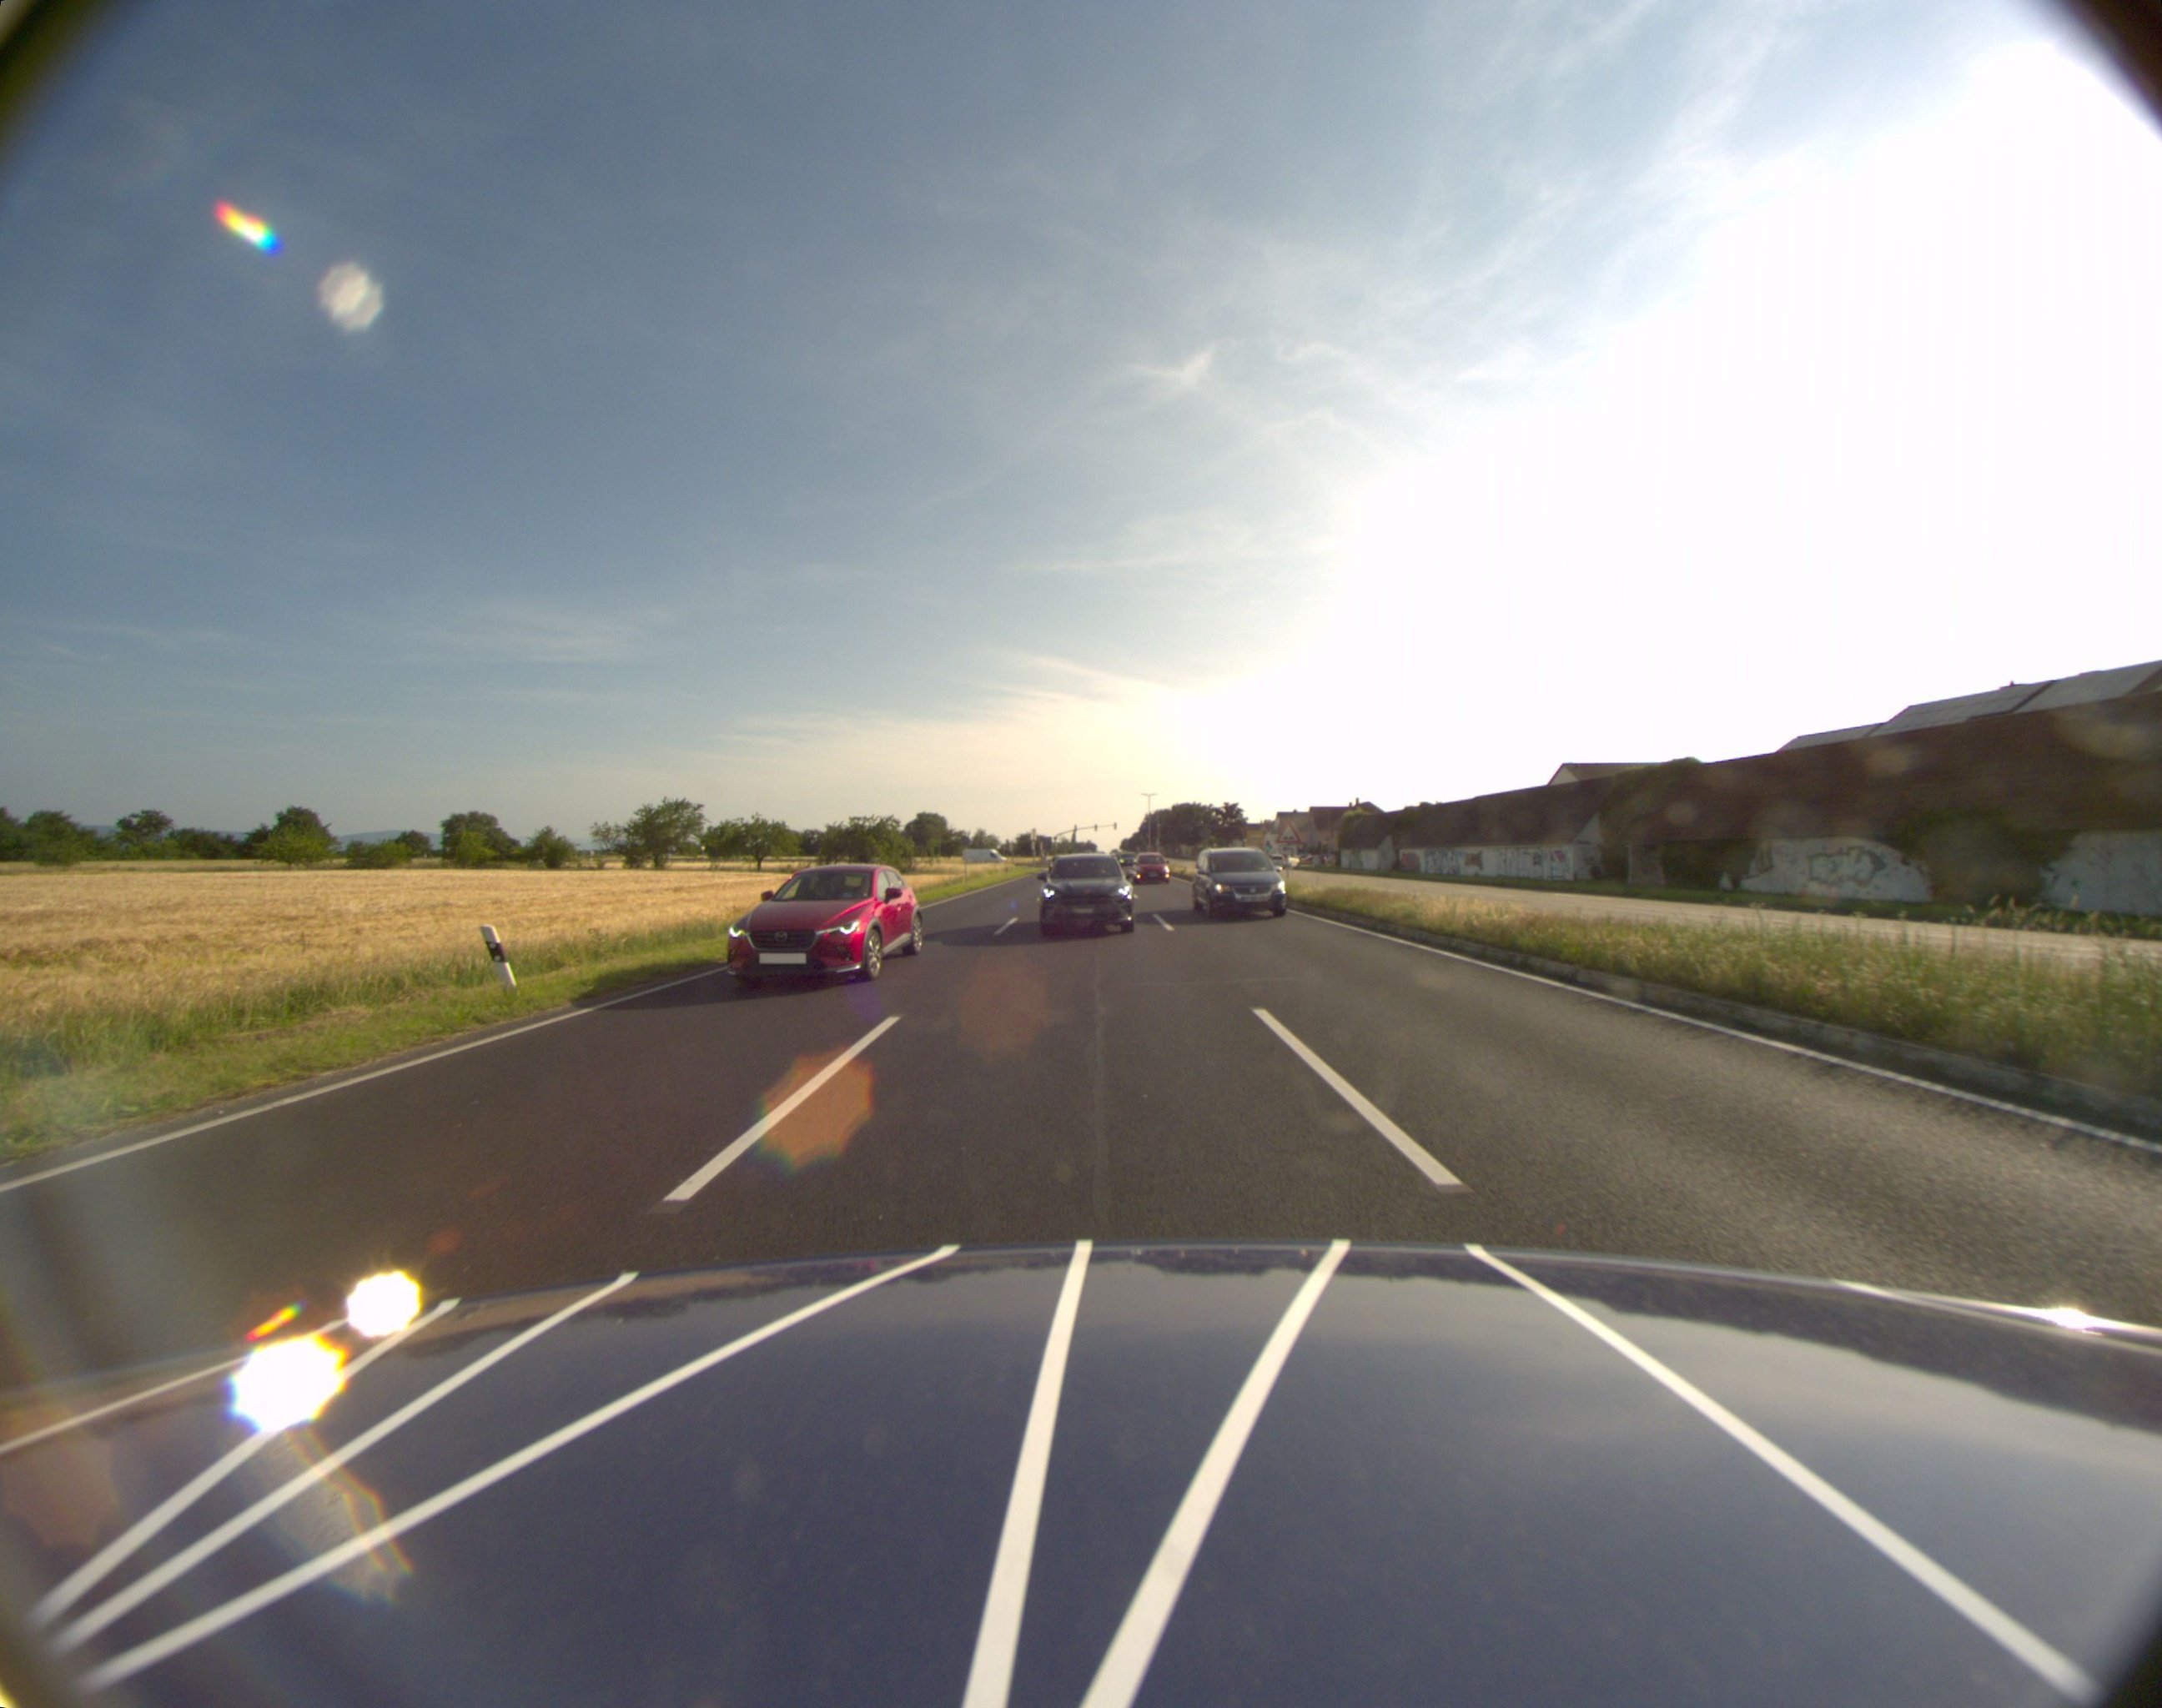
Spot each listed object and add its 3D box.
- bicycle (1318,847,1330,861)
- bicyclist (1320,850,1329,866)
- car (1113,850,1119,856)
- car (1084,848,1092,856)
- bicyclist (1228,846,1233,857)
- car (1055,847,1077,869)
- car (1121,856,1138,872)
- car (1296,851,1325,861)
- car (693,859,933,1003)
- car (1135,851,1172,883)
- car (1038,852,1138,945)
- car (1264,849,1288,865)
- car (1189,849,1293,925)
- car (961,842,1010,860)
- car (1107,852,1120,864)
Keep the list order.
[{"bbox_3d":[31.396,0.042,98.156,0.755,1.739,2.607,-2,1,2],"label":"bicycle"},{"bbox_3d":[31.381,0.506,98.002,0.772,2.002,1.062,-2,1,1],"label":"bicyclist"},{"bbox_3d":[11.573,-0.427,250.980,1.998,2.002,4.000,-2,1,2],"label":"car"},{"bbox_3d":[1.843,-0.447,196.946,1.999,2.002,3.999,-2,1,-1],"label":"car"},{"bbox_3d":[25.513,-0.484,129.665,0.856,1.777,0.847,2,2,10],"label":"bicyclist"},{"bbox_3d":[-1.407,0.343,71.618,1.999,2.002,3.999,-2,1,-1],"label":"car"},{"bbox_3d":[5.236,1.074,82.464,1.718,1.521,4.000,-2,1,2],"label":"car"},{"bbox_3d":[36.808,0.343,121.881,3.996,1.554,1.758,2,1,2],"label":"car"},{"bbox_3d":[-3.491,0.896,10.905,1.708,1.497,4.500,-2,1,1],"label":"car"},{"bbox_3d":[3.862,0.670,41.017,1.748,1.537,4.000,-2,1,2],"label":"car"},{"bbox_3d":[0.210,0.823,16.244,1.791,1.594,4.339,-2,1,2],"label":"car"},{"bbox_3d":[22.856,0.368,89.123,1.840,1.697,4.758,2,1,5],"label":"car"},{"bbox_3d":[3.856,0.712,19.061,1.777,1.612,4.682,-1,1,2],"label":"car"},{"bbox_3d":[-14.671,-0.406,116.659,7.201,2.654,2.094,0,2,15],"label":"car"},{"bbox_3d":[5.941,0.787,137.829,1.999,2.002,3.999,-2,1,-1],"label":"car"}]
